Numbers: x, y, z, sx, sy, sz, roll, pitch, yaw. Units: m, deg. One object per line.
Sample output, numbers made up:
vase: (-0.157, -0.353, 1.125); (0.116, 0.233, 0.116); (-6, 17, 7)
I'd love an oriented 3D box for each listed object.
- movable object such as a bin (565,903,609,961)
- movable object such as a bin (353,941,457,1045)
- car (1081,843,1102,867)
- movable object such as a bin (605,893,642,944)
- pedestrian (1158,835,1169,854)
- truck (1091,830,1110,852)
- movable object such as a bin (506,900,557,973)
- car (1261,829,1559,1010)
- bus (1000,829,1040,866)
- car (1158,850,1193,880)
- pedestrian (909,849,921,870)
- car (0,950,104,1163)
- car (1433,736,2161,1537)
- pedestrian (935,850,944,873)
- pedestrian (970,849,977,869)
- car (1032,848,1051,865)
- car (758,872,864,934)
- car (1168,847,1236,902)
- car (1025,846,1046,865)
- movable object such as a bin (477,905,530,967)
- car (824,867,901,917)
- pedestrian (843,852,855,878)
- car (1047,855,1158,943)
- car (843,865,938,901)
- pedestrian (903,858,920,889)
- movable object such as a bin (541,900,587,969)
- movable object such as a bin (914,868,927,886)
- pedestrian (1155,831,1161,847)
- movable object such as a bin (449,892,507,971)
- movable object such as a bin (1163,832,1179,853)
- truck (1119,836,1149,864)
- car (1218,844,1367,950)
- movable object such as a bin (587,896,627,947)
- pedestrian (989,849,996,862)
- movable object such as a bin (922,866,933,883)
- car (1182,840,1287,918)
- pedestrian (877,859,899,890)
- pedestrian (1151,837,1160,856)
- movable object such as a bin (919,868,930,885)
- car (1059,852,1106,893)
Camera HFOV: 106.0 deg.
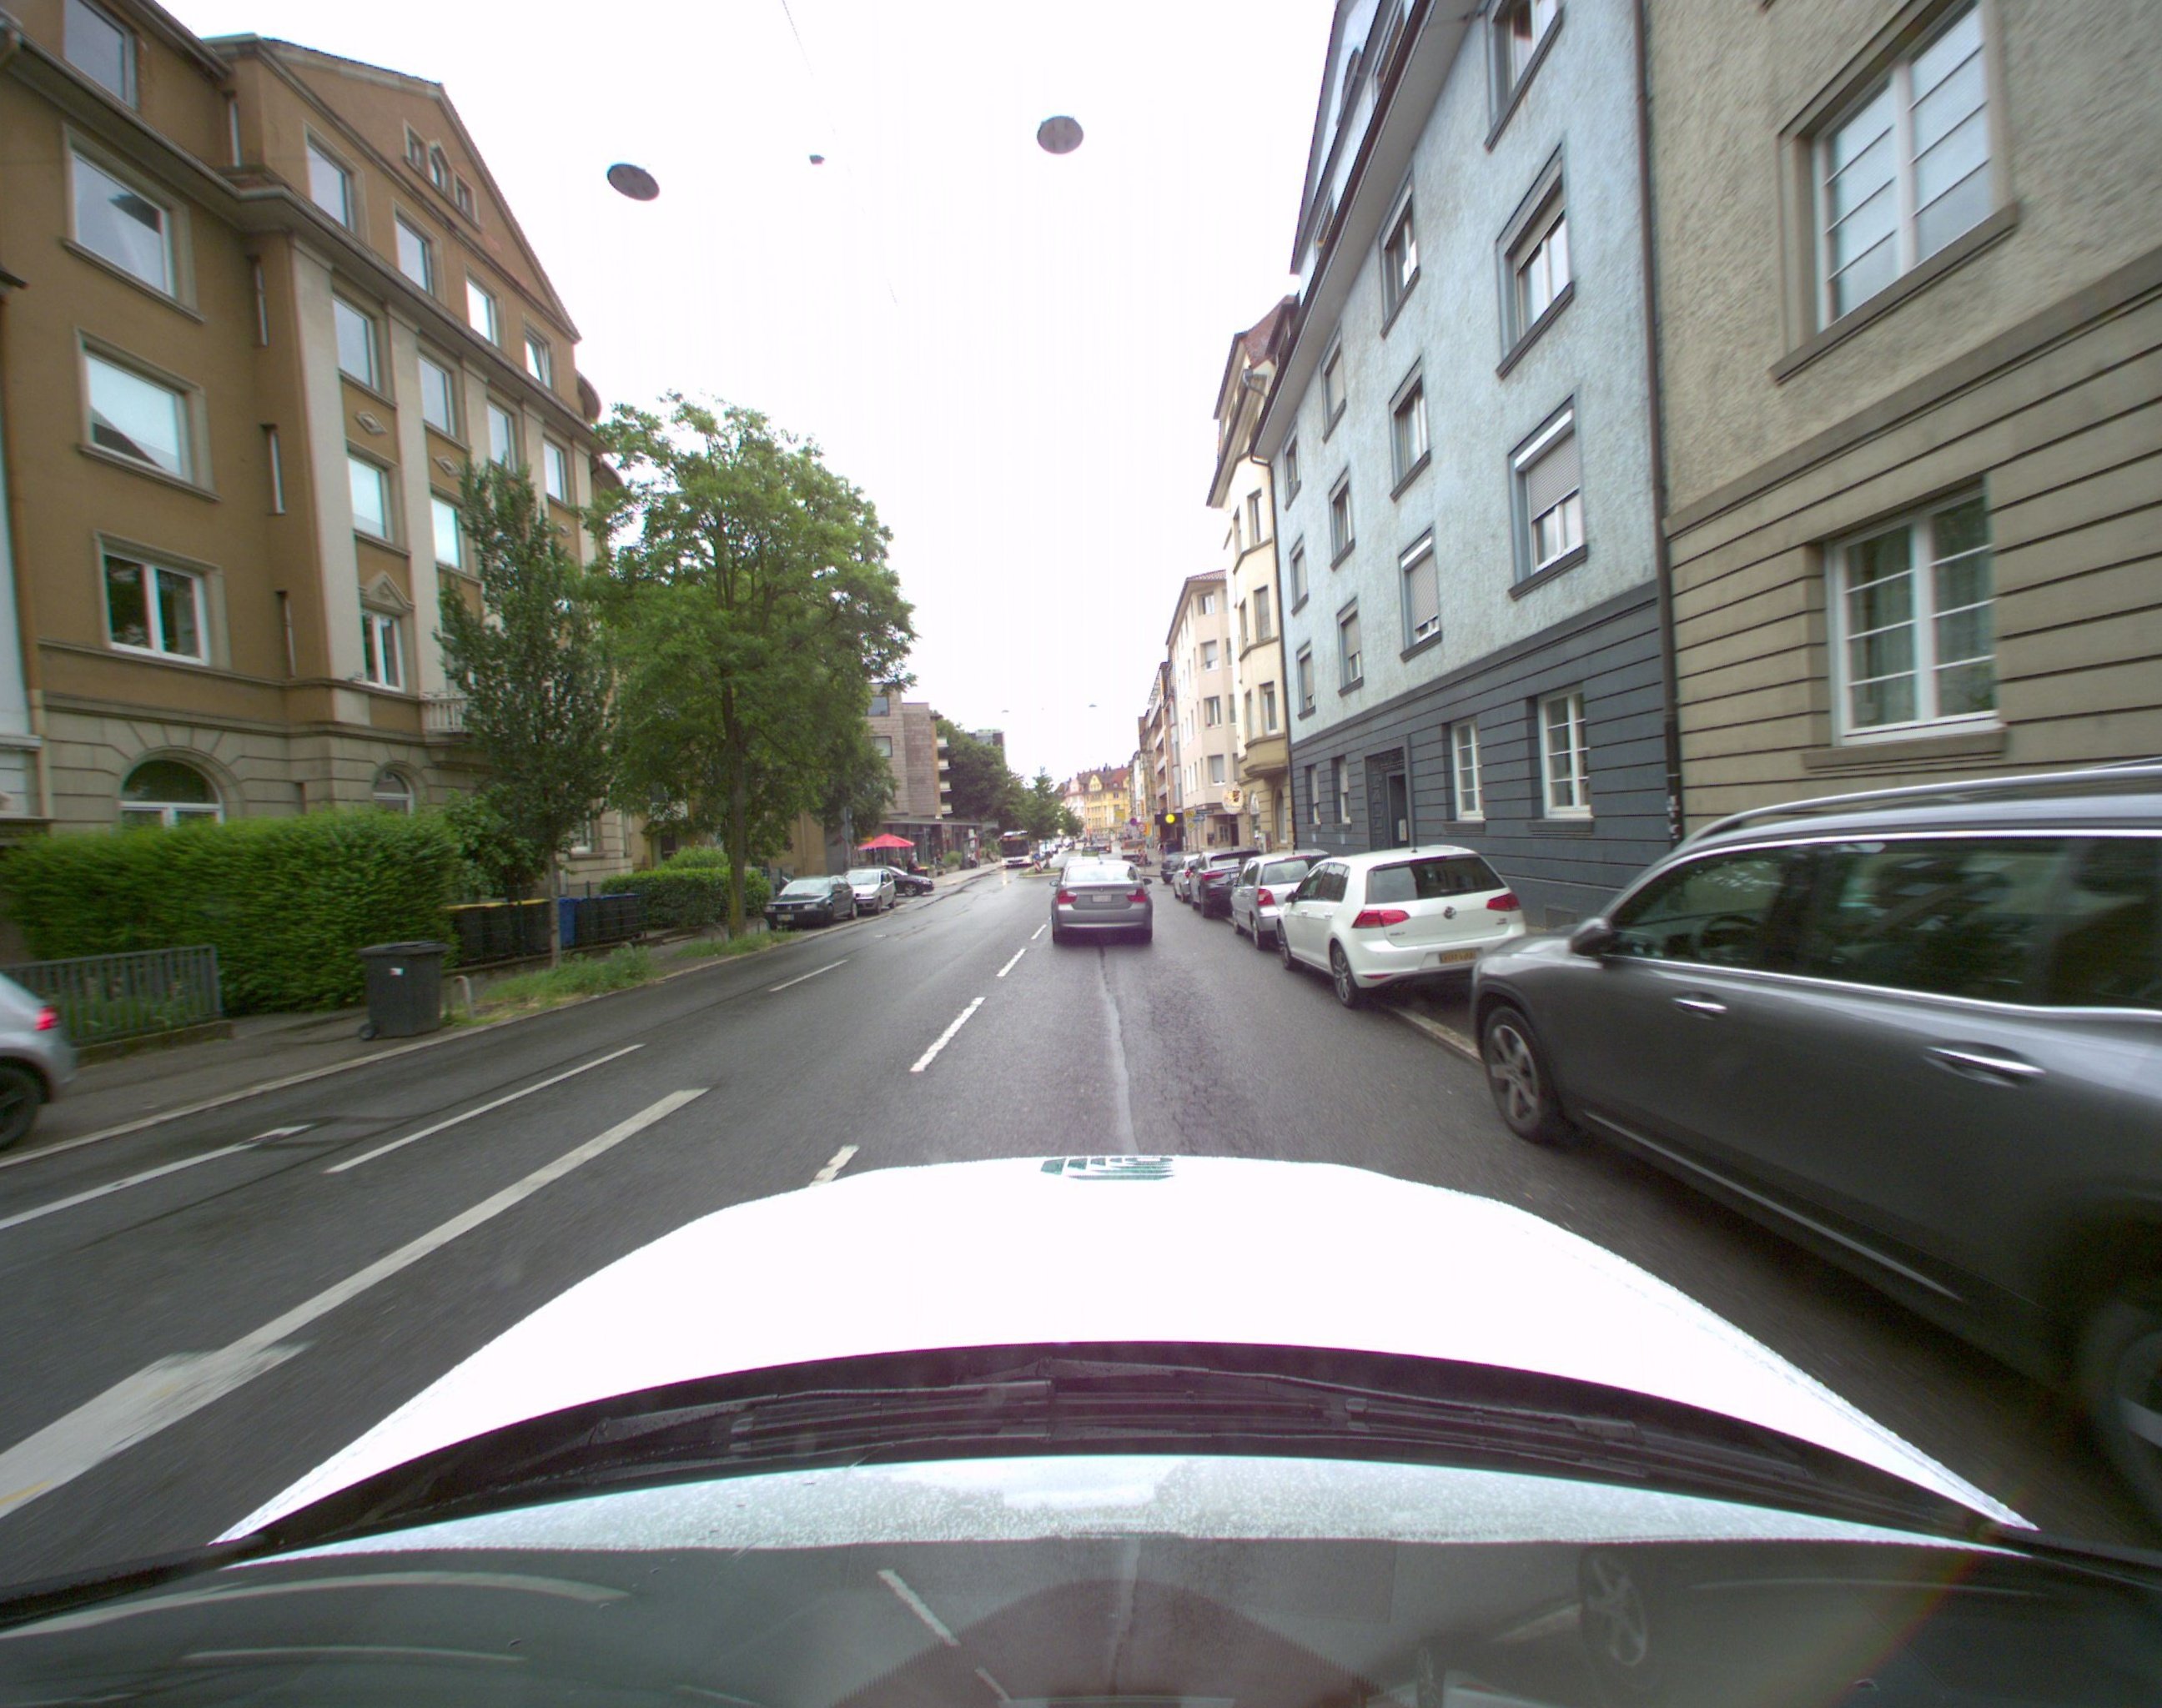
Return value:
movable object such as a bin: (-10.460, 1.646, 17.249); (0.438, 1.130, 0.657); (-4, 0, 1)
movable object such as a bin: (-7.782, 1.589, 9.396); (0.627, 1.058, 0.600); (-4, -1, 2)
car: (0.841, 0.121, 69.585); (1.700, 2.014, 3.998); (-1, -1, -1)
movable object such as a bin: (-10.480, 1.473, 18.672); (0.438, 1.081, 0.590); (-4, 0, 1)
pedestrian: (6.969, -0.802, 69.123); (0.750, 1.661, 0.752); (-1, -1, -10)
truck: (2.422, -1.624, 101.566); (2.209, 2.544, 4.780); (-1, -1, 1)
movable object such as a bin: (-10.523, 1.573, 15.611); (0.438, 1.308, 0.650); (-4, 0, 1)
car: (3.368, 0.570, 9.243); (1.723, 1.429, 3.975); (-7, 0, 1)
bus: (-5.634, -0.498, 77.173); (2.672, 3.200, 11.956); (-1, -1, 1)
car: (4.476, 0.509, 39.107); (1.429, 1.356, 3.765); (-1, -1, 3)
pedestrian: (-14.124, 0.471, 69.377); (0.651, 1.705, 0.666); (-2, -1, 33)
car: (-8.295, 1.460, 4.175); (1.676, 1.390, 3.938); (-3, 0, 2)
car: (3.057, 0.506, 2.744); (1.834, 1.621, 4.208); (-5, 0, 1)
pedestrian: (-11.202, 0.565, 64.487); (0.460, 1.790, 0.547); (-1, -1, 23)
pedestrian: (-9.433, 0.420, 71.234); (0.542, 1.709, 0.465); (-1, -1, -5)
car: (-4.763, 0.324, 97.507); (1.987, 2.014, 4.000); (-1, -1, 1)
car: (-7.681, 1.340, 23.567); (1.648, 1.454, 3.942); (-4, 0, 0)
car: (3.758, 0.590, 25.834); (1.563, 1.464, 4.091); (-6, 0, 2)
car: (-4.988, 0.162, 89.626); (1.987, 2.014, 4.000); (-1, -1, 1)
movable object such as a bin: (-10.547, 1.480, 14.890); (0.438, 1.039, 0.650); (-4, 0, 1)
car: (-7.431, 1.247, 28.053); (1.628, 1.454, 3.836); (-3, 0, -2)
pedestrian: (-16.924, 0.793, 59.367); (0.639, 1.816, 0.630); (-4, 1, -23)
car: (0.391, 0.748, 14.750); (1.749, 1.362, 3.165); (-2, -1, 1)
car: (-8.582, 1.285, 36.812); (3.803, 1.390, 1.743); (-3, -1, 0)
pedestrian: (-9.844, 1.115, 47.200); (0.741, 1.709, 0.676); (-6, 1, -18)
movable object such as a bin: (-10.472, 1.612, 16.515); (0.438, 1.308, 0.609); (-4, 0, 1)
movable object such as a bin: (-10.162, 1.450, 51.596); (0.551, 1.081, 0.731); (-5, -1, 2)
pedestrian: (8.532, -1.647, 90.185); (0.611, 1.661, 0.756); (-1, -1, 8)
movable object such as a bin: (-10.623, 1.354, 14.369); (0.438, 1.299, 0.650); (-4, 0, 1)
movable object such as a bin: (7.795, -0.949, 70.598); (1.119, 1.702, 1.433); (-5, -1, -1)
truck: (4.170, -0.313, 63.611); (2.205, 2.117, 4.659); (0, 0, 5)
car: (3.478, 0.639, 14.039); (1.577, 1.429, 3.596); (-7, 0, 1)
movable object such as a bin: (-10.459, 1.478, 17.990); (0.424, 1.040, 0.650); (-4, 0, 1)
pedestrian: (-9.435, 0.130, 87.149); (0.617, 1.378, 0.545); (-1, -1, 2)
movable object such as a bin: (-10.060, 1.343, 53.389); (0.488, 1.081, 0.606); (-5, -1, 2)
car: (3.683, 0.545, 20.253); (1.811, 1.557, 4.295); (-6, 0, 2)
pedestrian: (-11.299, 1.176, 47.724); (1.062, 1.731, 0.712); (-3, 1, -9)
pedestrian: (6.582, -0.682, 72.060); (0.745, 1.661, 0.838); (-1, -1, 8)
movable object such as a bin: (-10.083, 1.464, 52.554); (0.488, 1.081, 0.606); (-5, -1, 2)
car: (0.040, 0.666, 30.094); (1.597, 1.420, 3.286); (-1, -1, -1)
